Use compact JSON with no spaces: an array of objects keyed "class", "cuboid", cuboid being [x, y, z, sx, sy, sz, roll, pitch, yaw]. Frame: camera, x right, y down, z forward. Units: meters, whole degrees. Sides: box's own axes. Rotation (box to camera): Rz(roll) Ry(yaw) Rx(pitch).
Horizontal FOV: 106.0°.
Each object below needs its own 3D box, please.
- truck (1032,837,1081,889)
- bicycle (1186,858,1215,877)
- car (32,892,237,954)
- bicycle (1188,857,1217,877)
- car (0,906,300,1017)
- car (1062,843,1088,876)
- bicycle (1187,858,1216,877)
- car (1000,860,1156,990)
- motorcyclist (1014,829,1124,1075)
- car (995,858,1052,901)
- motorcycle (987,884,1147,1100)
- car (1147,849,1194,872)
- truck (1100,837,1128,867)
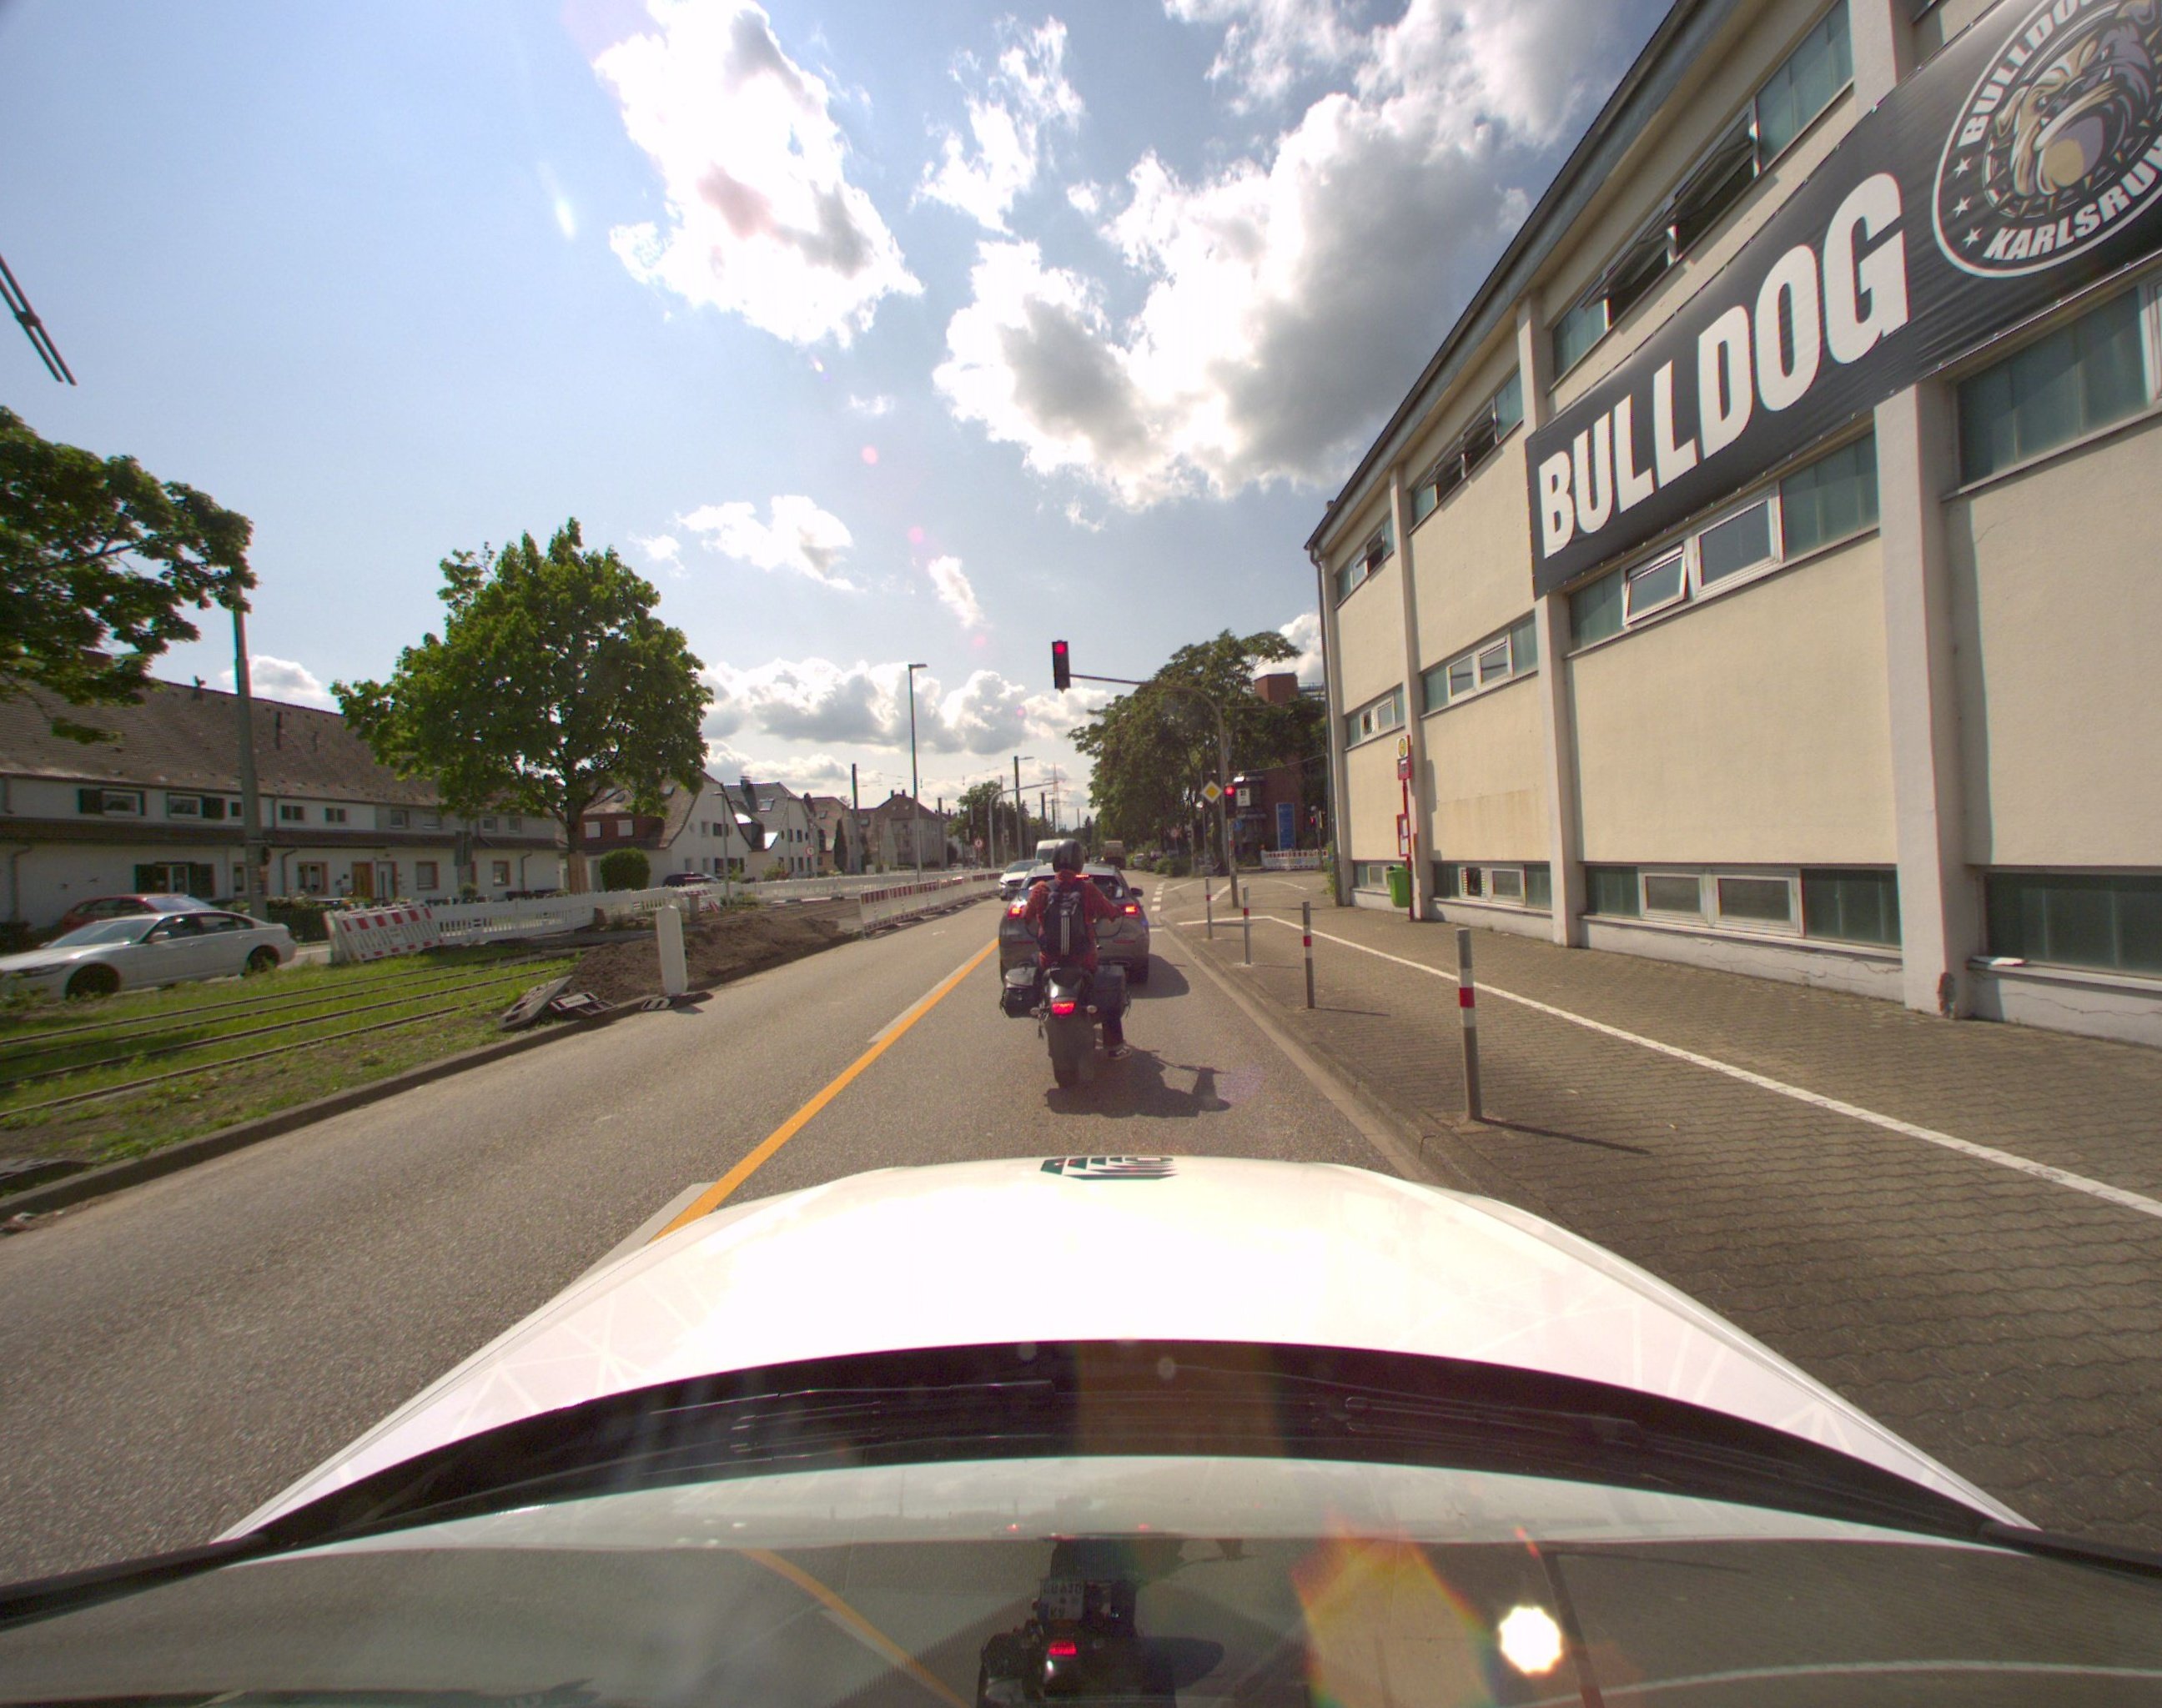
[{"class":"truck","cuboid":[-1.216,0.398,43.158,2.085,2.476,5.198,-4,1,2]},{"class":"bicycle","cuboid":[7.413,0.827,50.531,1.699,1.172,0.438,-1,-1,6]},{"class":"car","cuboid":[-28.102,2.020,24.285,3.974,1.509,1.725,-3,0,-1]},{"class":"bicycle","cuboid":[7.376,0.812,49.435,1.699,1.172,0.438,-1,-1,6]},{"class":"car","cuboid":[-16.473,1.770,14.337,1.538,1.376,4.245,-3,0,-5]},{"class":"car","cuboid":[-0.376,0.403,55.690,1.583,2.143,3.628,-1,-1,2]},{"class":"bicycle","cuboid":[7.385,0.819,49.968,1.699,1.172,0.438,-1,-1,6]},{"class":"car","cuboid":[-0.149,0.800,11.099,1.728,1.403,4.081,0,0,-3]},{"class":"motorcyclist","cuboid":[-0.073,0.649,5.718,0.696,1.604,0.692,-1,-1,1]},{"class":"car","cuboid":[-2.132,0.940,31.316,1.738,1.437,4.084,-4,-1,1]},{"class":"motorcycle","cuboid":[-0.060,0.872,6.122,0.939,1.200,2.473,-1,0,1]},{"class":"car","cuboid":[7.656,0.523,69.640,4.023,1.926,1.781,0,-1,-44]},{"class":"truck","cuboid":[3.799,-0.127,91.480,2.954,3.173,7.771,-1,-1,4]}]
